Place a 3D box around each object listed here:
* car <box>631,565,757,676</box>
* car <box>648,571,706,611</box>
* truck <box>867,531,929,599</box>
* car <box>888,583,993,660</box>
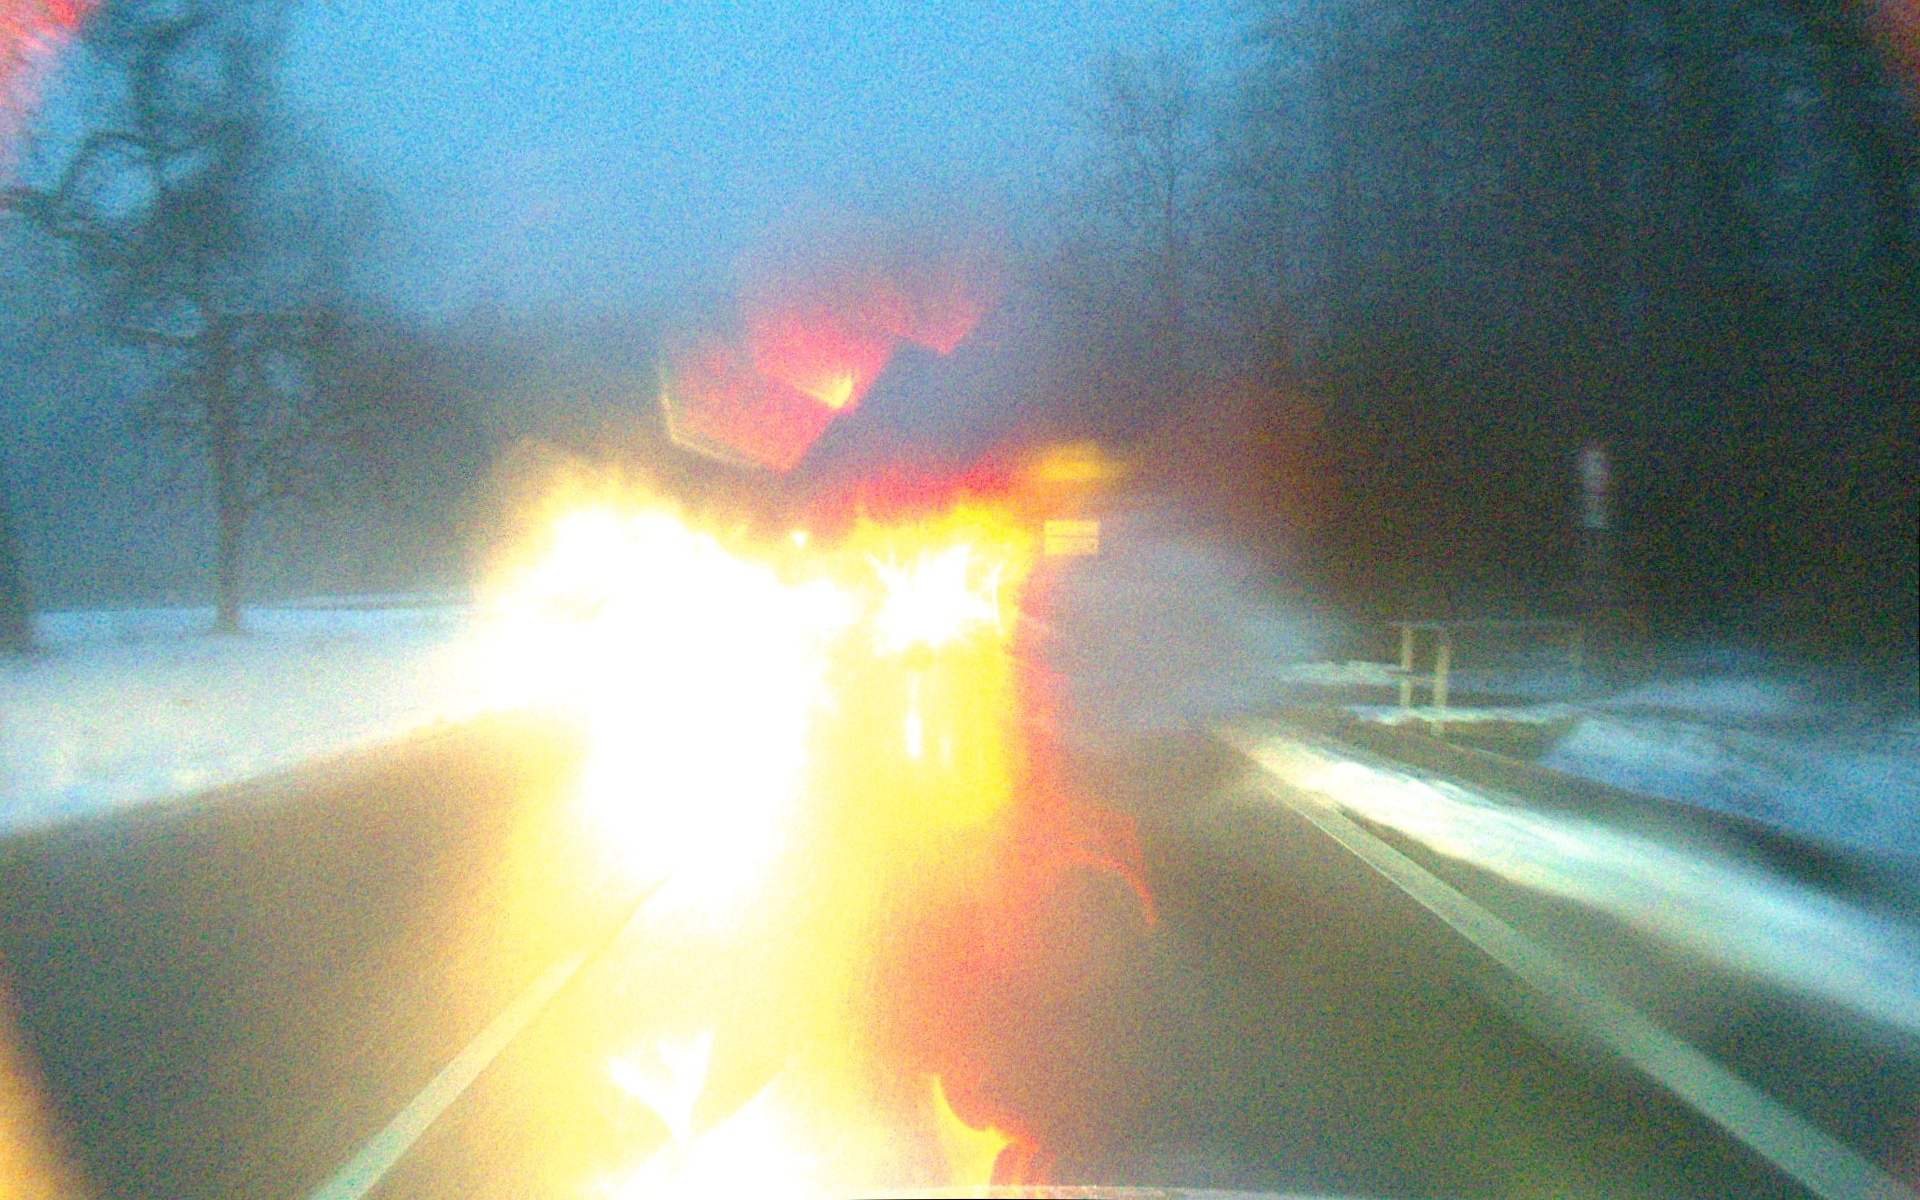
[{"bbox_3d":[-4.536,0.291,28.776,1.717,1.722,4.423,-2,1,-4],"label":"car"},{"bbox_3d":[-11.893,-0.407,69.671,1.706,1.512,4.004,-3,2,-1],"label":"car"},{"bbox_3d":[-2.689,-1.488,70.594,2.037,2.793,5.309,0,1,-9],"label":"truck"},{"bbox_3d":[-0.450,0.389,32.994,1.884,1.299,3.998,-1,2,-4],"label":"car"}]
